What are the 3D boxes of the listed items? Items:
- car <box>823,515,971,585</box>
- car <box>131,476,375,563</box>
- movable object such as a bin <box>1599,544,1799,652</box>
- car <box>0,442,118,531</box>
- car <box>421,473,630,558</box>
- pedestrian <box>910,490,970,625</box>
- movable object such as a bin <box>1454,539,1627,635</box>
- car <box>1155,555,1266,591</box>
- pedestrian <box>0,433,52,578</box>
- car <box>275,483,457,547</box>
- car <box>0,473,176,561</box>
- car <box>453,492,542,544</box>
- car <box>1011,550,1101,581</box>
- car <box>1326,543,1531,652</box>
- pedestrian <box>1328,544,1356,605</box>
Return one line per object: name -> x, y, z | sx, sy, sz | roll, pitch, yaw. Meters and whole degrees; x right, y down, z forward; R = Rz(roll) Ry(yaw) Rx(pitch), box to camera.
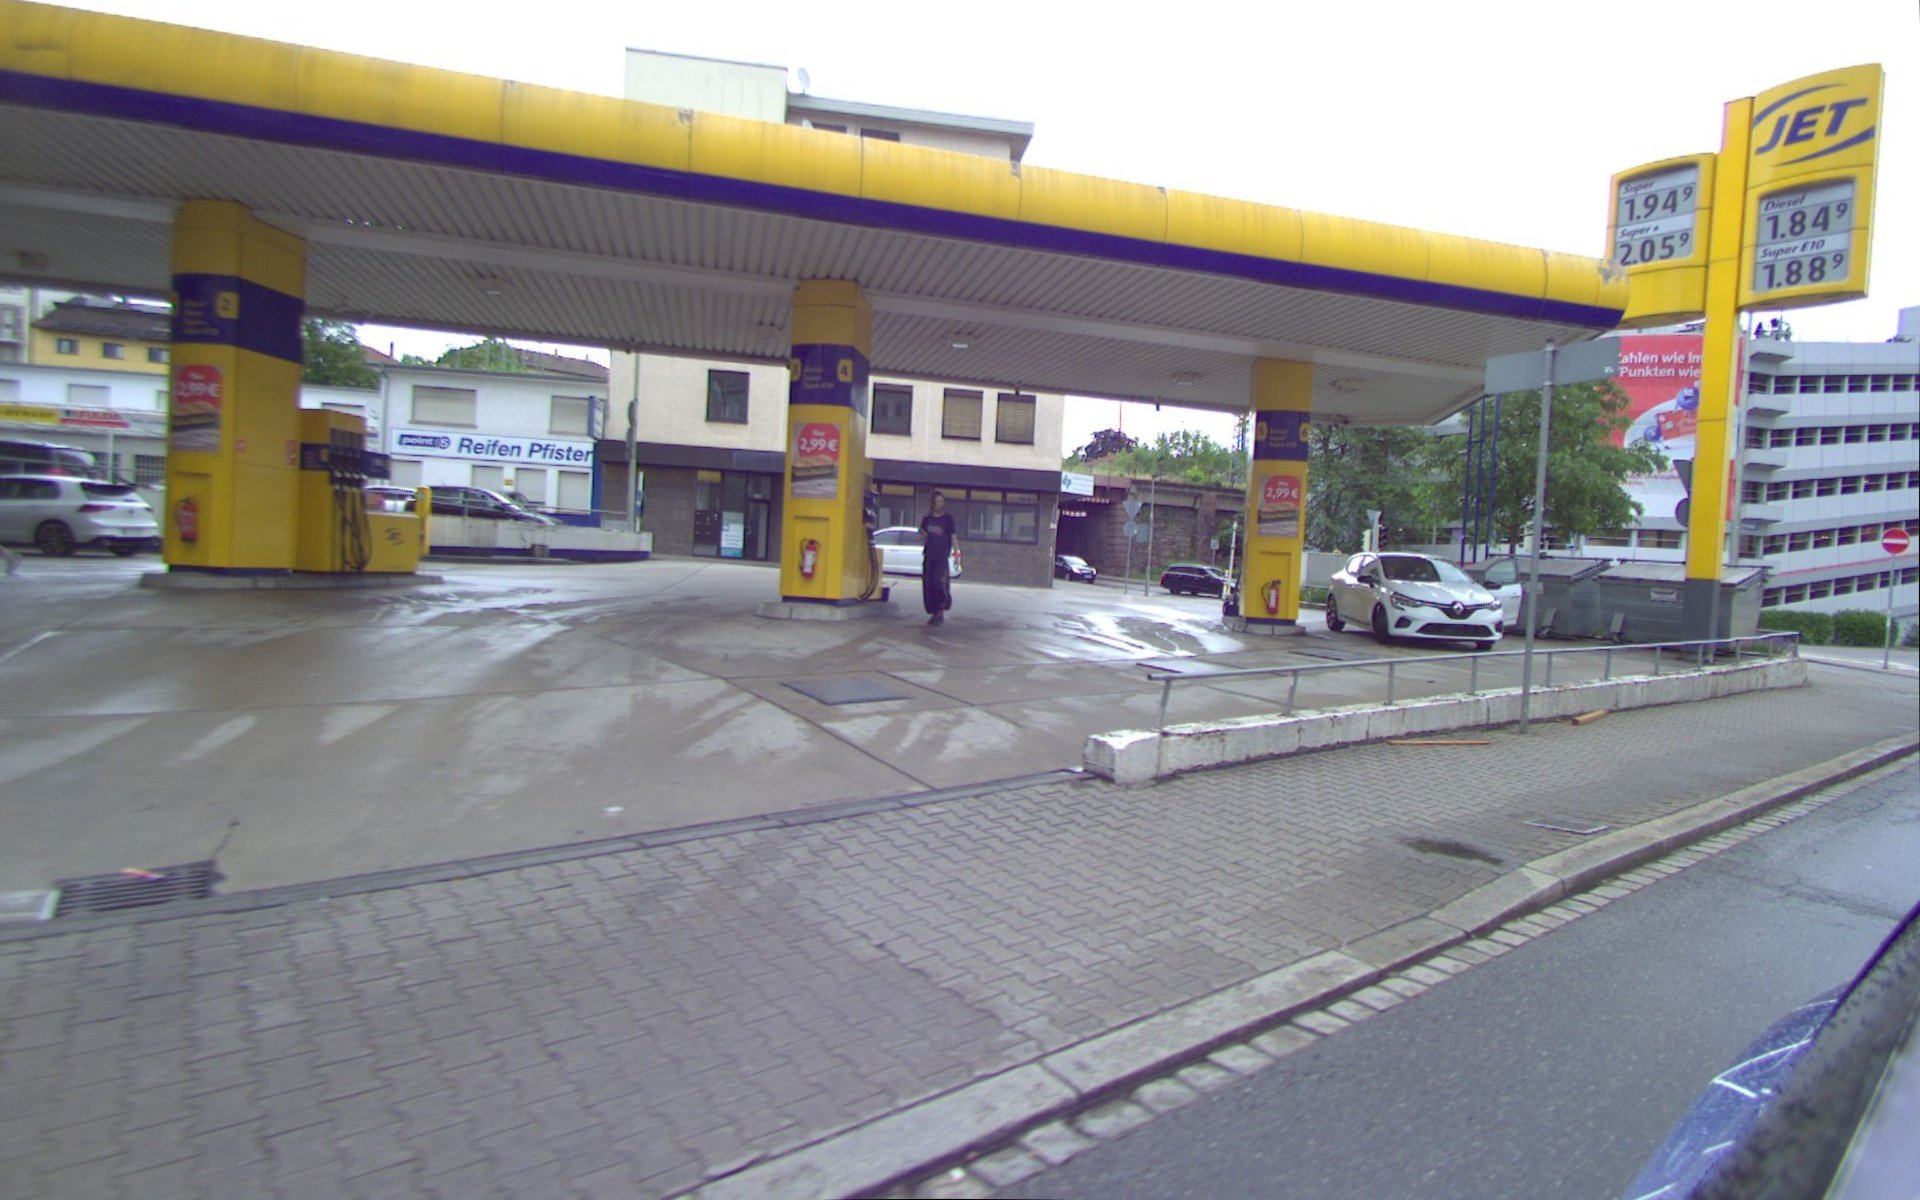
car -> -2.014, -1.510, 31.587 | 4.309, 1.748, 2.003 | 5, -1, -9
car -> -17.188, -1.926, 24.833 | 4.486, 1.888, 2.003 | 1, 0, -8
movable object such as a bin -> 12.044, -0.068, 16.549 | 1.740, 1.593, 2.163 | 1, 3, -36
car -> -23.226, -2.710, 24.109 | 4.486, 1.888, 2.003 | 1, 0, -8
car -> -10.891, -2.093, 25.661 | 4.486, 1.888, 2.003 | 1, 0, -8
pedestrian -> -0.267, -0.589, 13.923 | 0.649, 1.792, 0.529 | 4, 4, 11
movable object such as a bin -> 10.564, -0.270, 18.473 | 1.740, 1.574, 2.163 | 1, 3, -36
car -> 12.096, -1.293, 49.153 | 1.966, 1.652, 5.029 | 1, 1, -42
pedestrian -> -12.421, -1.204, 12.847 | 0.651, 1.819, 1.272 | 5, 4, 41
car -> -17.080, -2.429, 29.269 | 4.122, 1.496, 1.809 | 2, -1, -9
car -> -17.522, -1.542, 18.831 | 4.334, 1.534, 2.001 | 1, 3, 0
car -> -17.375, -3.047, 38.222 | 1.959, 1.660, 4.006 | 1, 0, -8
car -> 5.360, -1.907, 56.918 | 1.966, 1.652, 5.029 | 1, 1, -42
car -> 7.348, -0.154, 16.331 | 1.716, 1.459, 3.996 | 3, 4, 6
pedestrian -> 9.713, -0.638, 25.734 | 0.566, 1.534, 0.478 | 1, 0, 12
